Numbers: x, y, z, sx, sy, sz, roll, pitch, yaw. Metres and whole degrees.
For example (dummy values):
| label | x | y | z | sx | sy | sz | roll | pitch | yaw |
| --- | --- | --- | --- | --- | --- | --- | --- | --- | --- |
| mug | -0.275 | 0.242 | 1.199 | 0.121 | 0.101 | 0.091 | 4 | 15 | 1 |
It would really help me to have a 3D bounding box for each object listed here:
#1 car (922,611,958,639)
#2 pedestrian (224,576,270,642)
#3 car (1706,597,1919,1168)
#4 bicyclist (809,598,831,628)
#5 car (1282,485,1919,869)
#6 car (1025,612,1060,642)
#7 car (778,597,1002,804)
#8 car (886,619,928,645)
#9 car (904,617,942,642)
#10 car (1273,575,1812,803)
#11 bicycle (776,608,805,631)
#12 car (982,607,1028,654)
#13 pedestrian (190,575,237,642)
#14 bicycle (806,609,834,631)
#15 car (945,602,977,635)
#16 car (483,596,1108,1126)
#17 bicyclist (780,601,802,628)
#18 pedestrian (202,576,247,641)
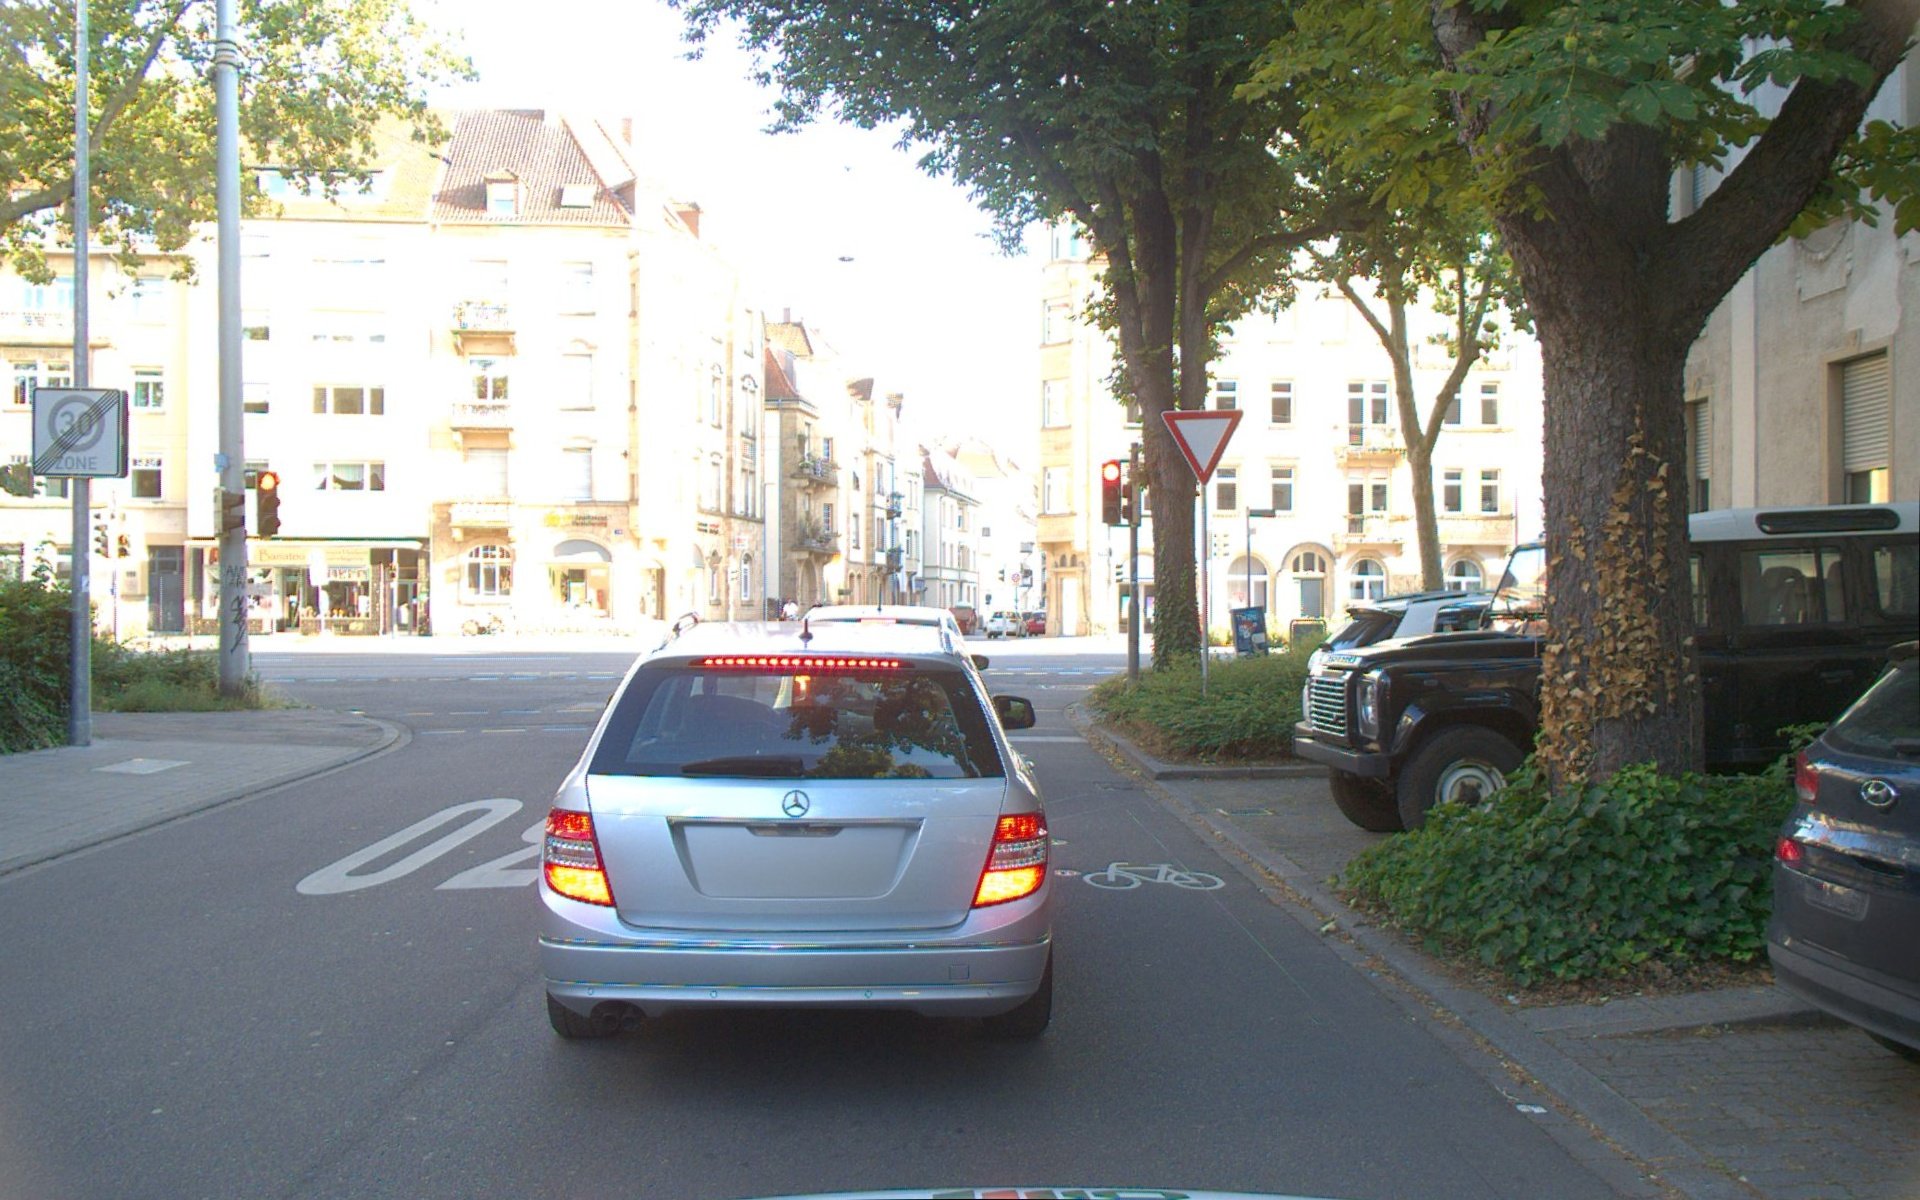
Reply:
| label | x | y | z | sx | sy | sz | roll | pitch | yaw |
| --- | --- | --- | --- | --- | --- | --- | --- | --- | --- |
| car | -1.270 | 1.627 | 108.710 | 1.796 | 1.692 | 4.003 | 0 | 1 | 7 |
| pedestrian | -27.420 | 0.356 | 63.619 | 1.320 | 2.507 | 1.059 | 0 | 0 | -5 |
| car | 4.286 | 0.698 | 4.598 | 3.650 | 1.477 | 1.707 | -1 | 0 | -4 |
| bicyclist | -6.207 | 0.581 | 73.360 | 0.754 | 1.312 | 0.753 | 1 | 0 | 10 |
| car | 4.371 | 0.408 | 10.176 | 4.377 | 2.072 | 1.699 | -1 | 0 | -4 |
| car | 5.117 | 1.647 | 101.978 | 1.796 | 1.775 | 4.003 | 0 | 1 | 7 |
| car | -0.589 | 0.726 | 14.024 | 1.587 | 1.472 | 4.342 | 1 | 0 | -2 |
| car | -3.072 | 1.867 | 96.959 | 1.796 | 1.427 | 4.003 | 0 | 1 | 7 |
| car | -2.274 | 1.817 | 102.463 | 1.796 | 1.427 | 4.003 | 0 | 1 | 7 |
| car | 4.512 | 0.655 | 13.144 | 3.650 | 1.597 | 1.707 | -1 | 0 | -4 |
| bicycle | -7.505 | 0.866 | 73.251 | 0.754 | 0.956 | 1.942 | 1 | 0 | 10 |
| car | 2.354 | 1.547 | 85.905 | 1.987 | 2.319 | 4.003 | 0 | 1 | 7 |
| pedestrian | -28.326 | 0.324 | 62.789 | 1.320 | 2.507 | 1.059 | 0 | 0 | -5 |
| bicycle | -6.209 | 0.880 | 73.359 | 0.754 | 0.950 | 1.942 | 1 | 0 | 10 |
| car | 0.082 | 1.274 | 117.325 | 1.749 | 2.242 | 4.003 | 0 | 1 | 7 |
| car | -0.549 | 0.737 | 6.935 | 1.741 | 1.477 | 4.546 | 1 | 0 | -2 |
| bicyclist | -7.487 | 0.640 | 73.330 | 0.754 | 1.177 | 0.753 | 1 | 0 | 10 |
| pedestrian | -28.713 | 0.340 | 64.606 | 1.320 | 2.507 | 1.059 | 0 | 0 | -5 |
